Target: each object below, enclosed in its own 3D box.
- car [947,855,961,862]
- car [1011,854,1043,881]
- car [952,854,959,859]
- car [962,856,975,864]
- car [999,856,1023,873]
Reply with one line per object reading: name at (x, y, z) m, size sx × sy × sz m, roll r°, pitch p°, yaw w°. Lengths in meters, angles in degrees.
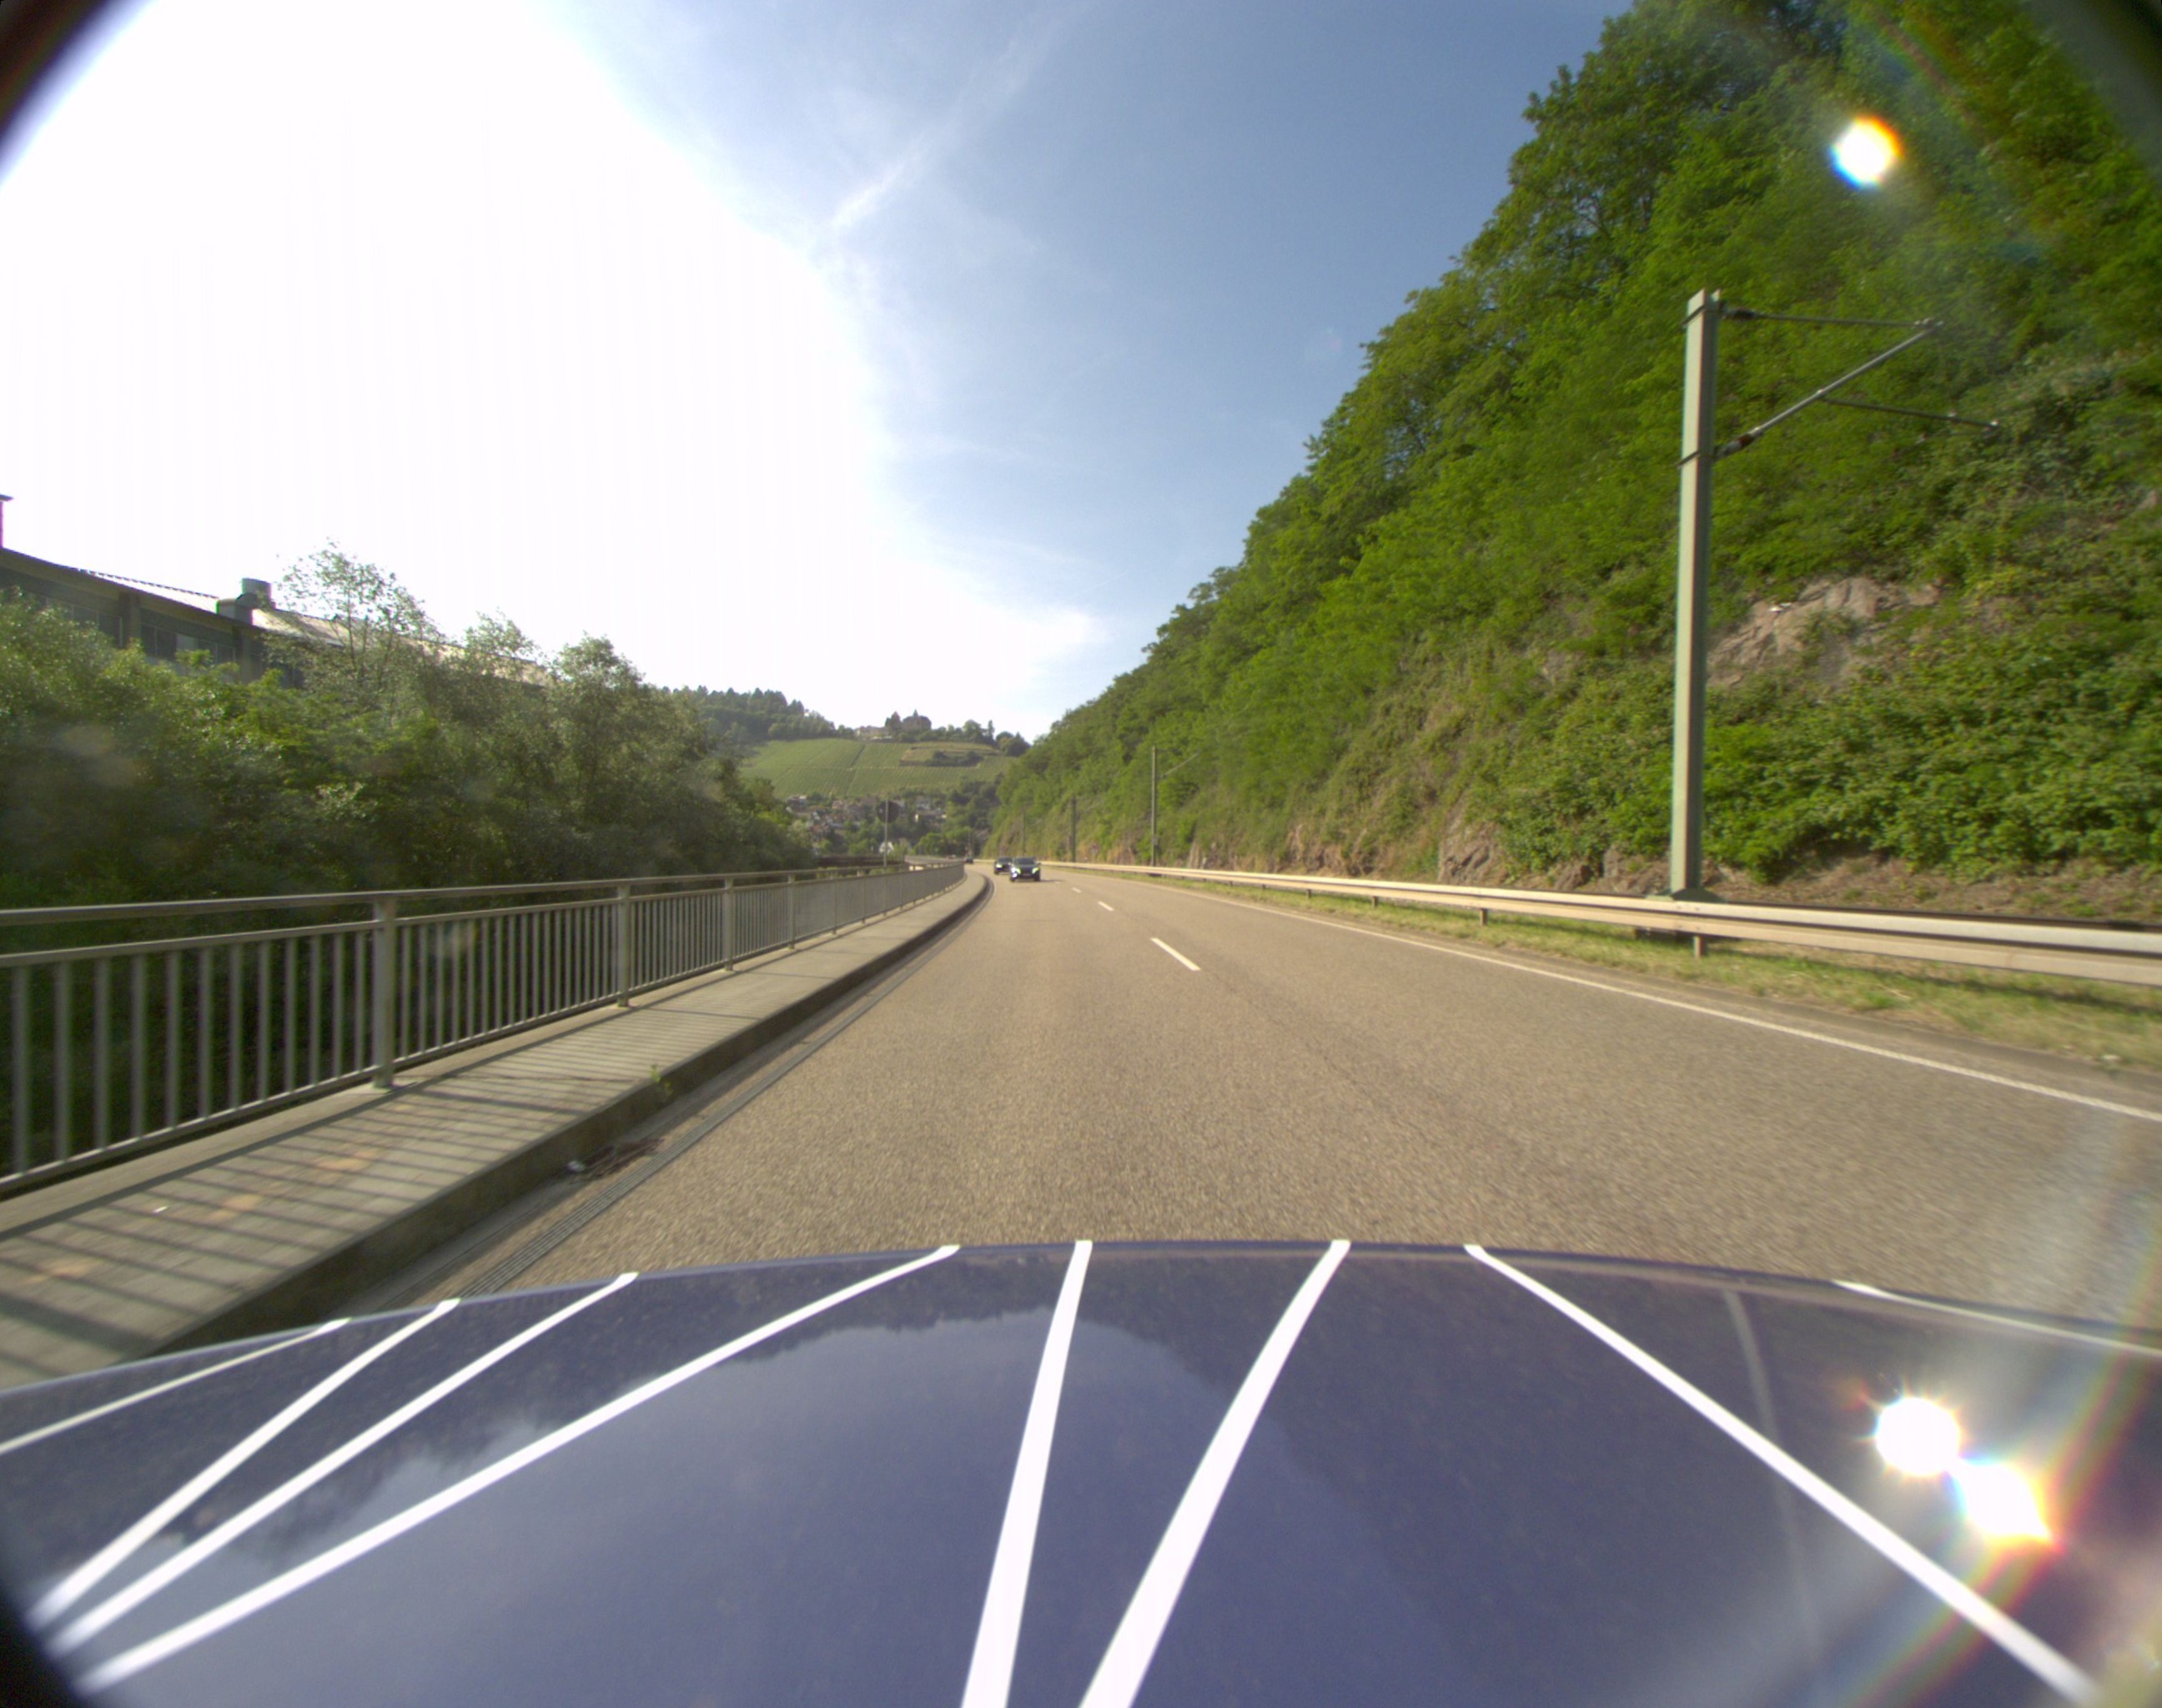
car at (-28.268, 0.920, 169.110) m, size 1.856 × 1.431 × 3.889 m, roll 0°, pitch -2°, yaw -30°
car at (-3.593, 0.852, 50.026) m, size 1.864 × 1.576 × 3.997 m, roll -2°, pitch 1°, yaw -6°
car at (-42.393, 0.910, 257.384) m, size 1.854 × 1.535 × 4.598 m, roll 0°, pitch -1°, yaw -16°
car at (-21.253, 1.127, 143.871) m, size 1.854 × 1.393 × 4.471 m, roll -2°, pitch -1°, yaw -15°
car at (-6.500, 0.986, 70.143) m, size 2.000 × 1.384 × 3.998 m, roll 3°, pitch -1°, yaw -7°
